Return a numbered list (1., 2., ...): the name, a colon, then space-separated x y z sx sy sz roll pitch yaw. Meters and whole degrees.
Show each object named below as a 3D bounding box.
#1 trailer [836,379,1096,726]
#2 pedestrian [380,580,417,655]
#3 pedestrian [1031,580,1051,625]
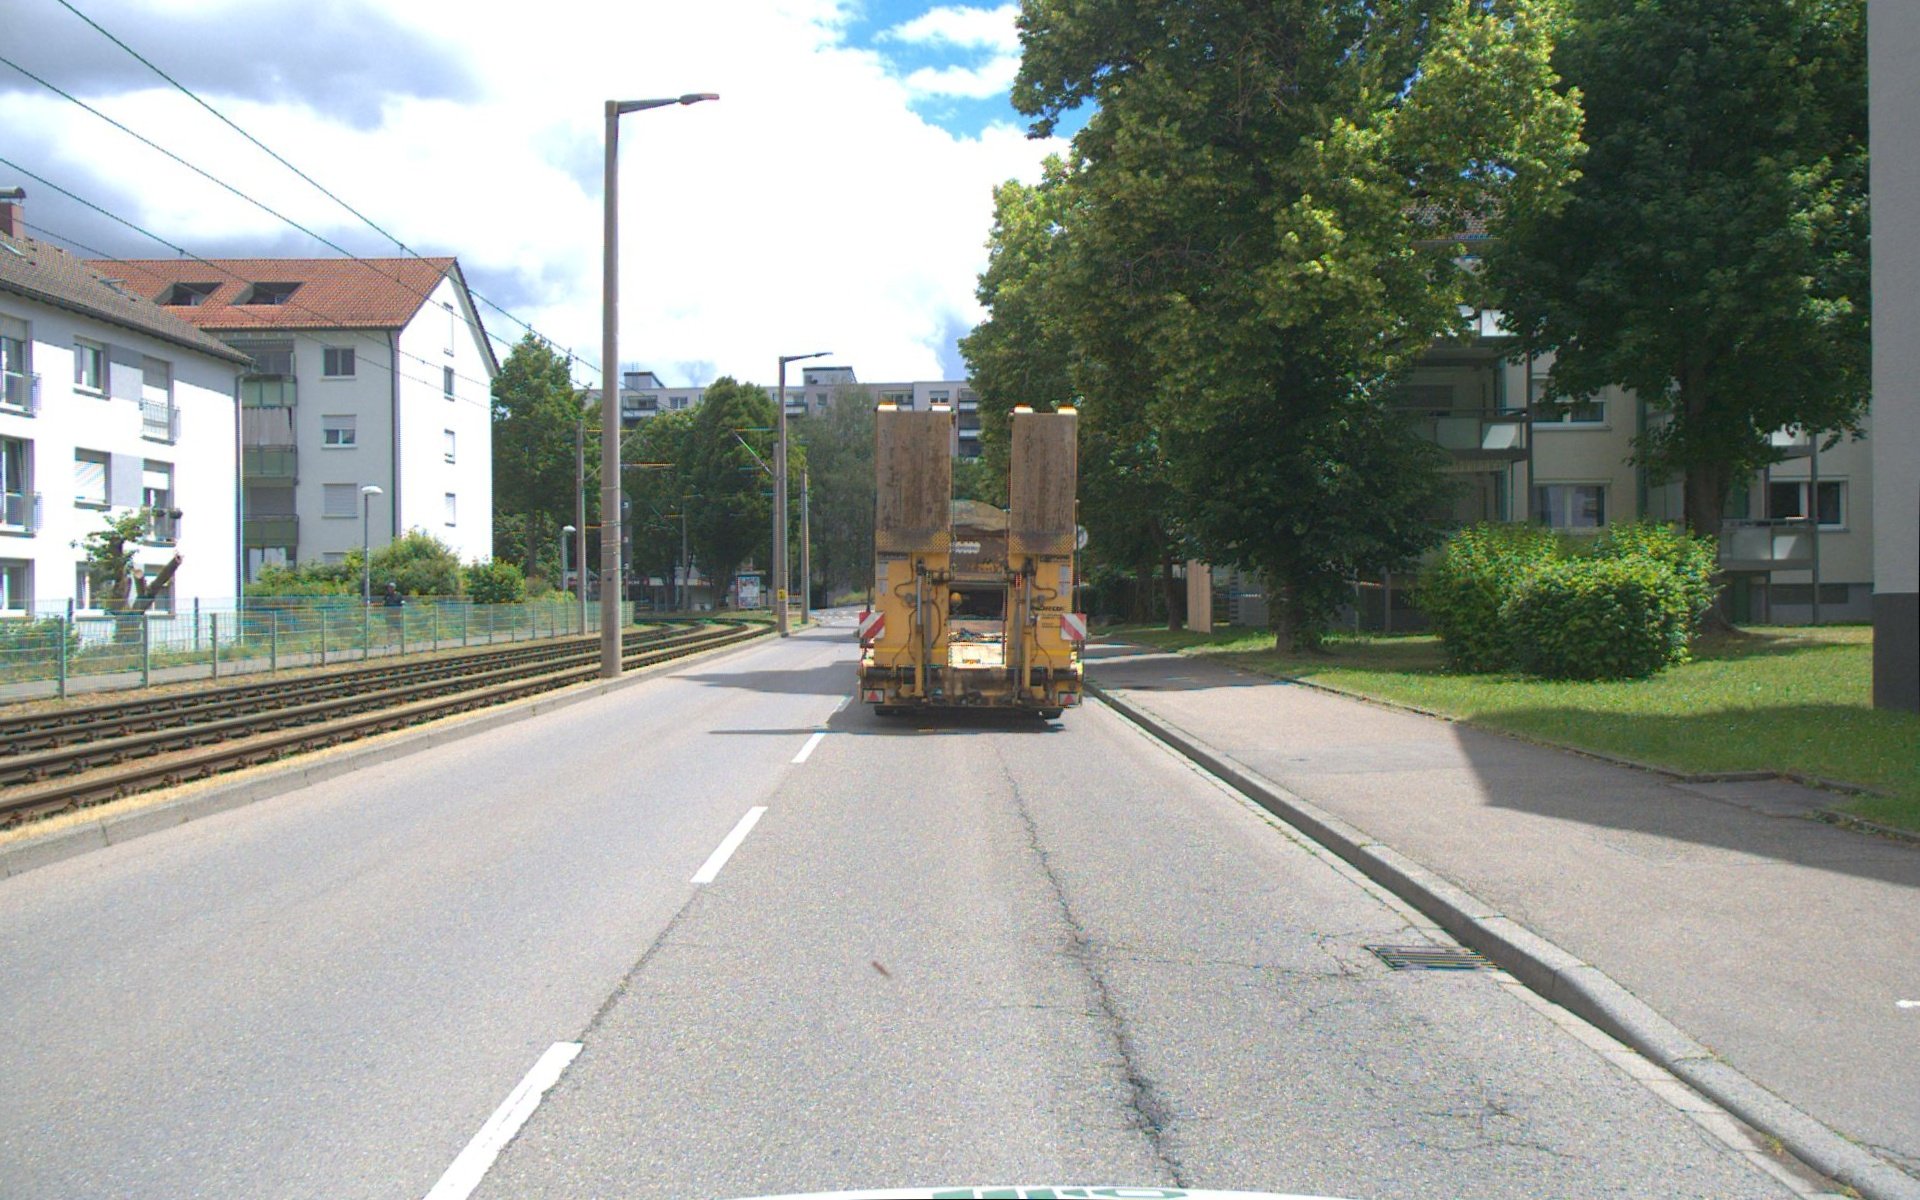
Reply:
1. trailer: -0.113 -0.551 24.122 2.770 3.709 12.350 1 0 -2
2. pedestrian: -14.451 0.439 42.584 0.646 1.881 0.768 -2 0 -1
3. pedestrian: 3.191 0.098 65.455 0.703 1.736 0.766 -2 1 -1
